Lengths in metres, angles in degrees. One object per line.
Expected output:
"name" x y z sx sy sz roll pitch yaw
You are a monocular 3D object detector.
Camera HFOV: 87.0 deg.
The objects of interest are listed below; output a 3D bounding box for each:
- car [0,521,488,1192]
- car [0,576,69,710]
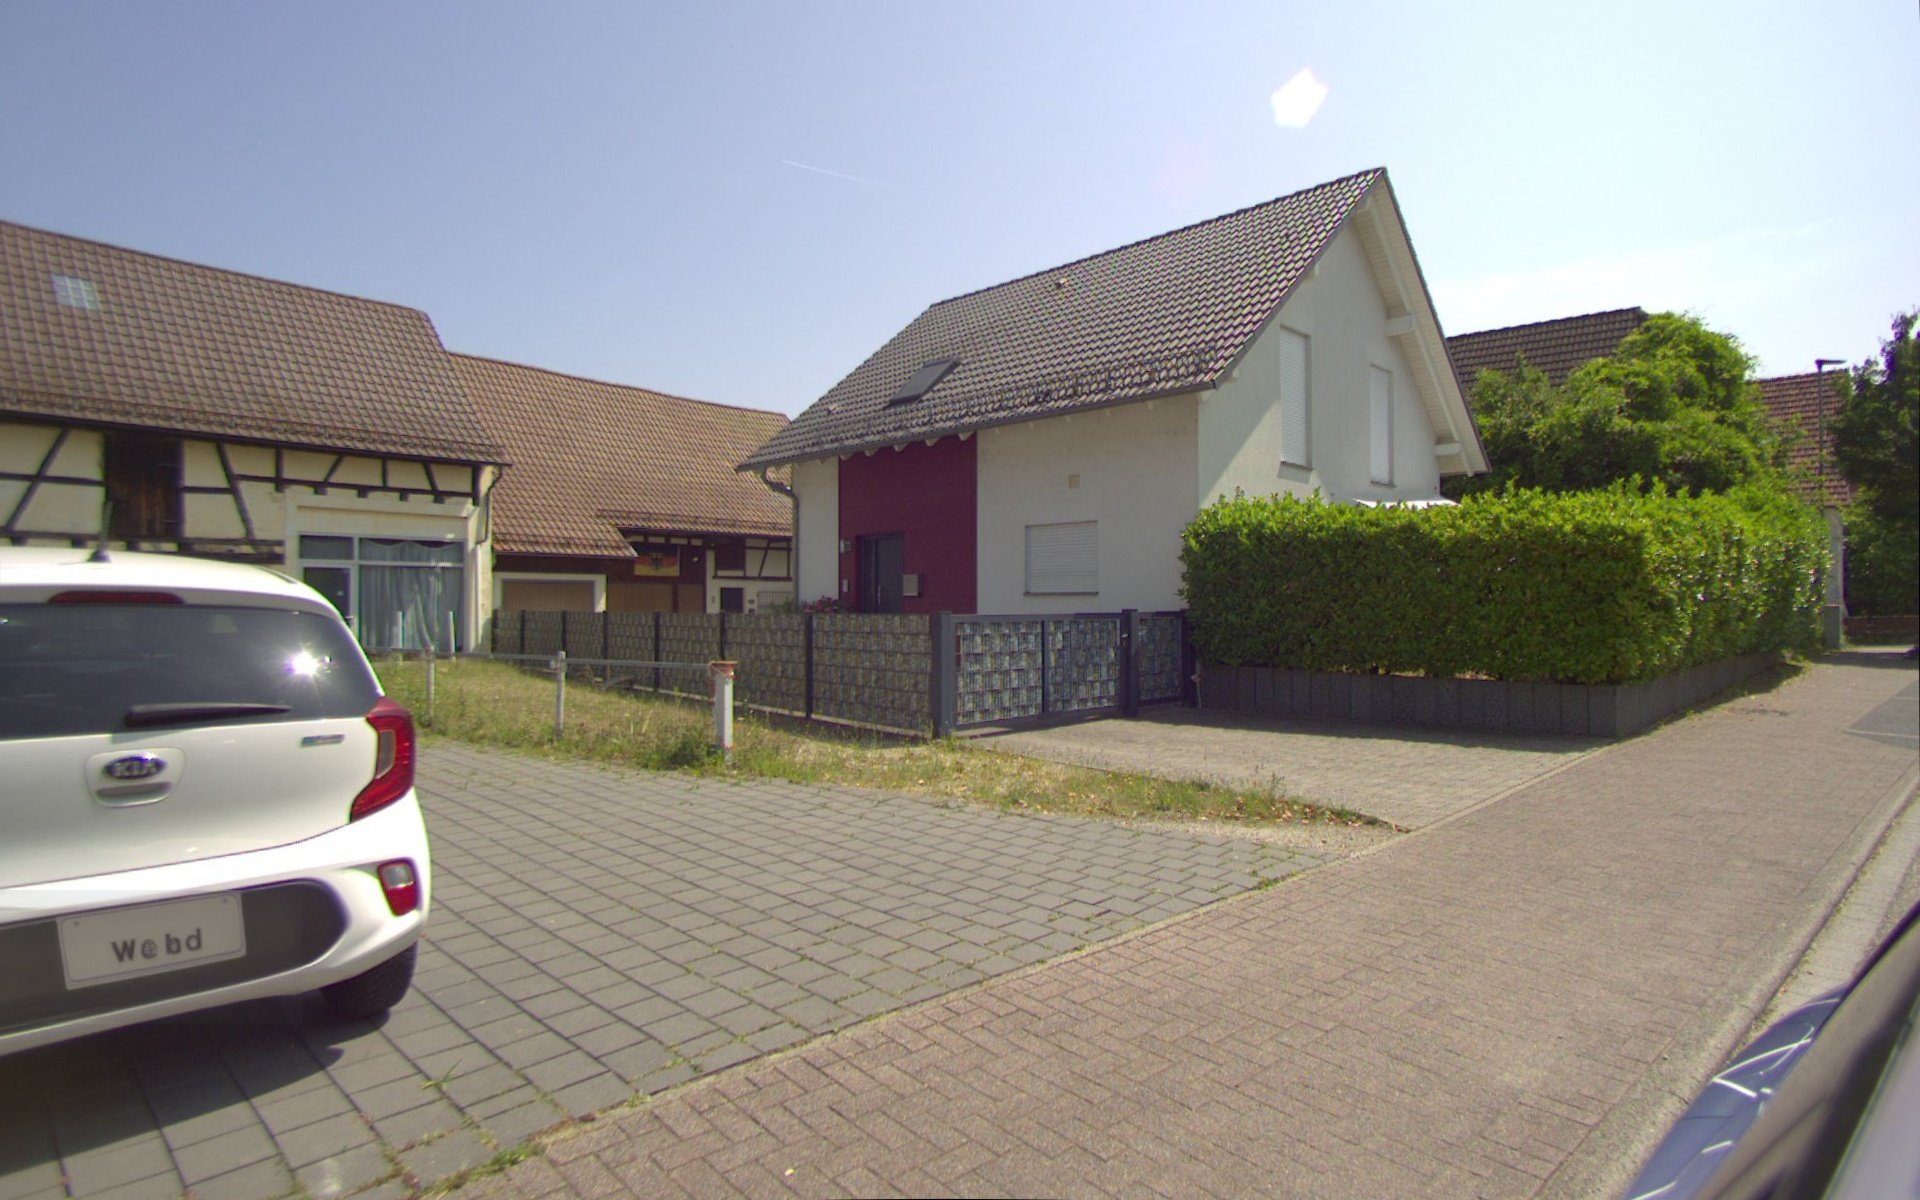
"car" -3.359 0.523 3.607 3.655 1.493 1.739 2 1 42
"car" -12.499 0.520 12.080 3.542 1.510 1.701 -1 -1 28
